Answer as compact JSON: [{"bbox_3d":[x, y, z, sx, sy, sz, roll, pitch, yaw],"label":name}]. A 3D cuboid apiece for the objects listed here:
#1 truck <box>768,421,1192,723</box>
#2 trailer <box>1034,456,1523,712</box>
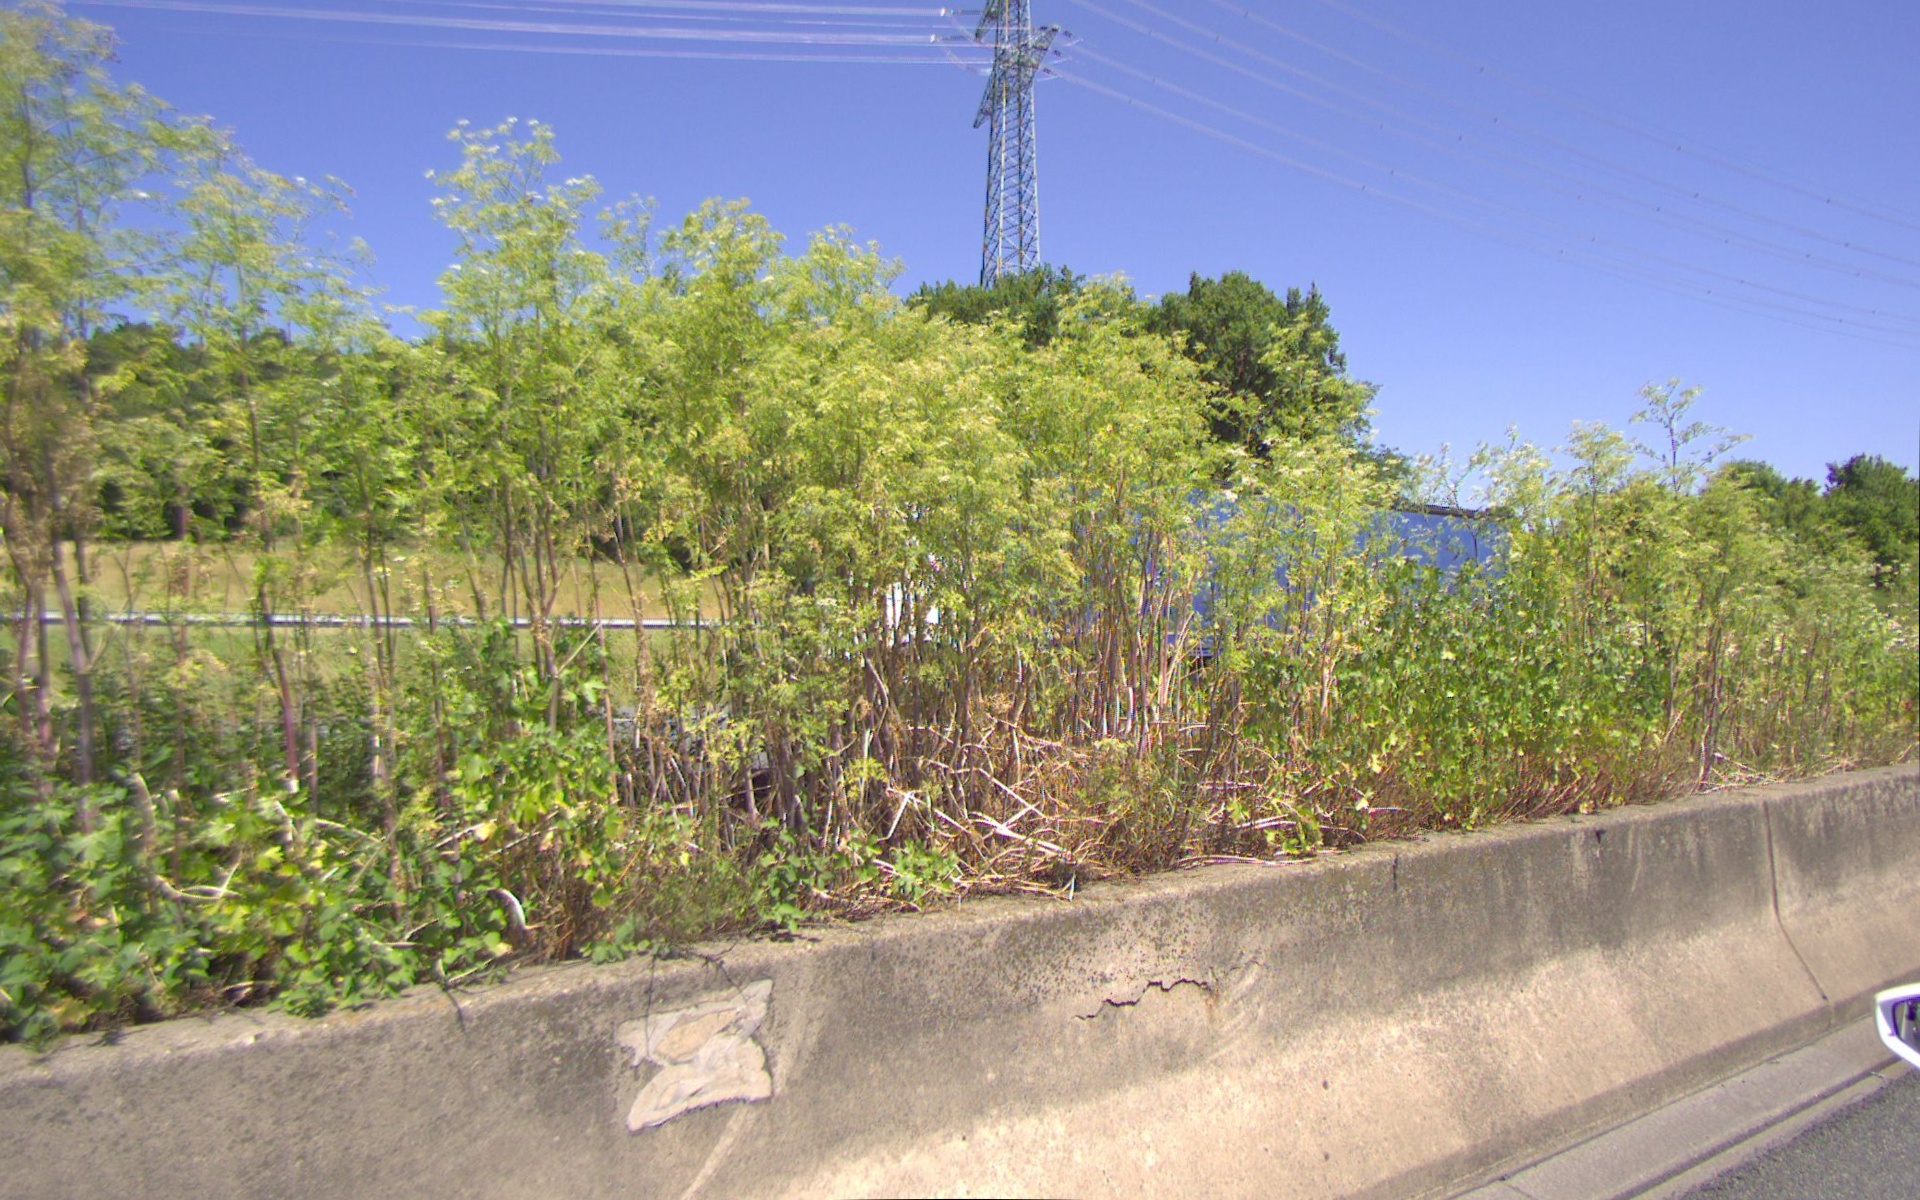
[{"bbox_3d":[0.402,-0.306,17.166,6.604,4.284,2.999,2,-1,-29],"label":"truck"},{"bbox_3d":[6.913,-0.122,20.778,10.847,4.284,2.999,2,-1,-29],"label":"trailer"}]
